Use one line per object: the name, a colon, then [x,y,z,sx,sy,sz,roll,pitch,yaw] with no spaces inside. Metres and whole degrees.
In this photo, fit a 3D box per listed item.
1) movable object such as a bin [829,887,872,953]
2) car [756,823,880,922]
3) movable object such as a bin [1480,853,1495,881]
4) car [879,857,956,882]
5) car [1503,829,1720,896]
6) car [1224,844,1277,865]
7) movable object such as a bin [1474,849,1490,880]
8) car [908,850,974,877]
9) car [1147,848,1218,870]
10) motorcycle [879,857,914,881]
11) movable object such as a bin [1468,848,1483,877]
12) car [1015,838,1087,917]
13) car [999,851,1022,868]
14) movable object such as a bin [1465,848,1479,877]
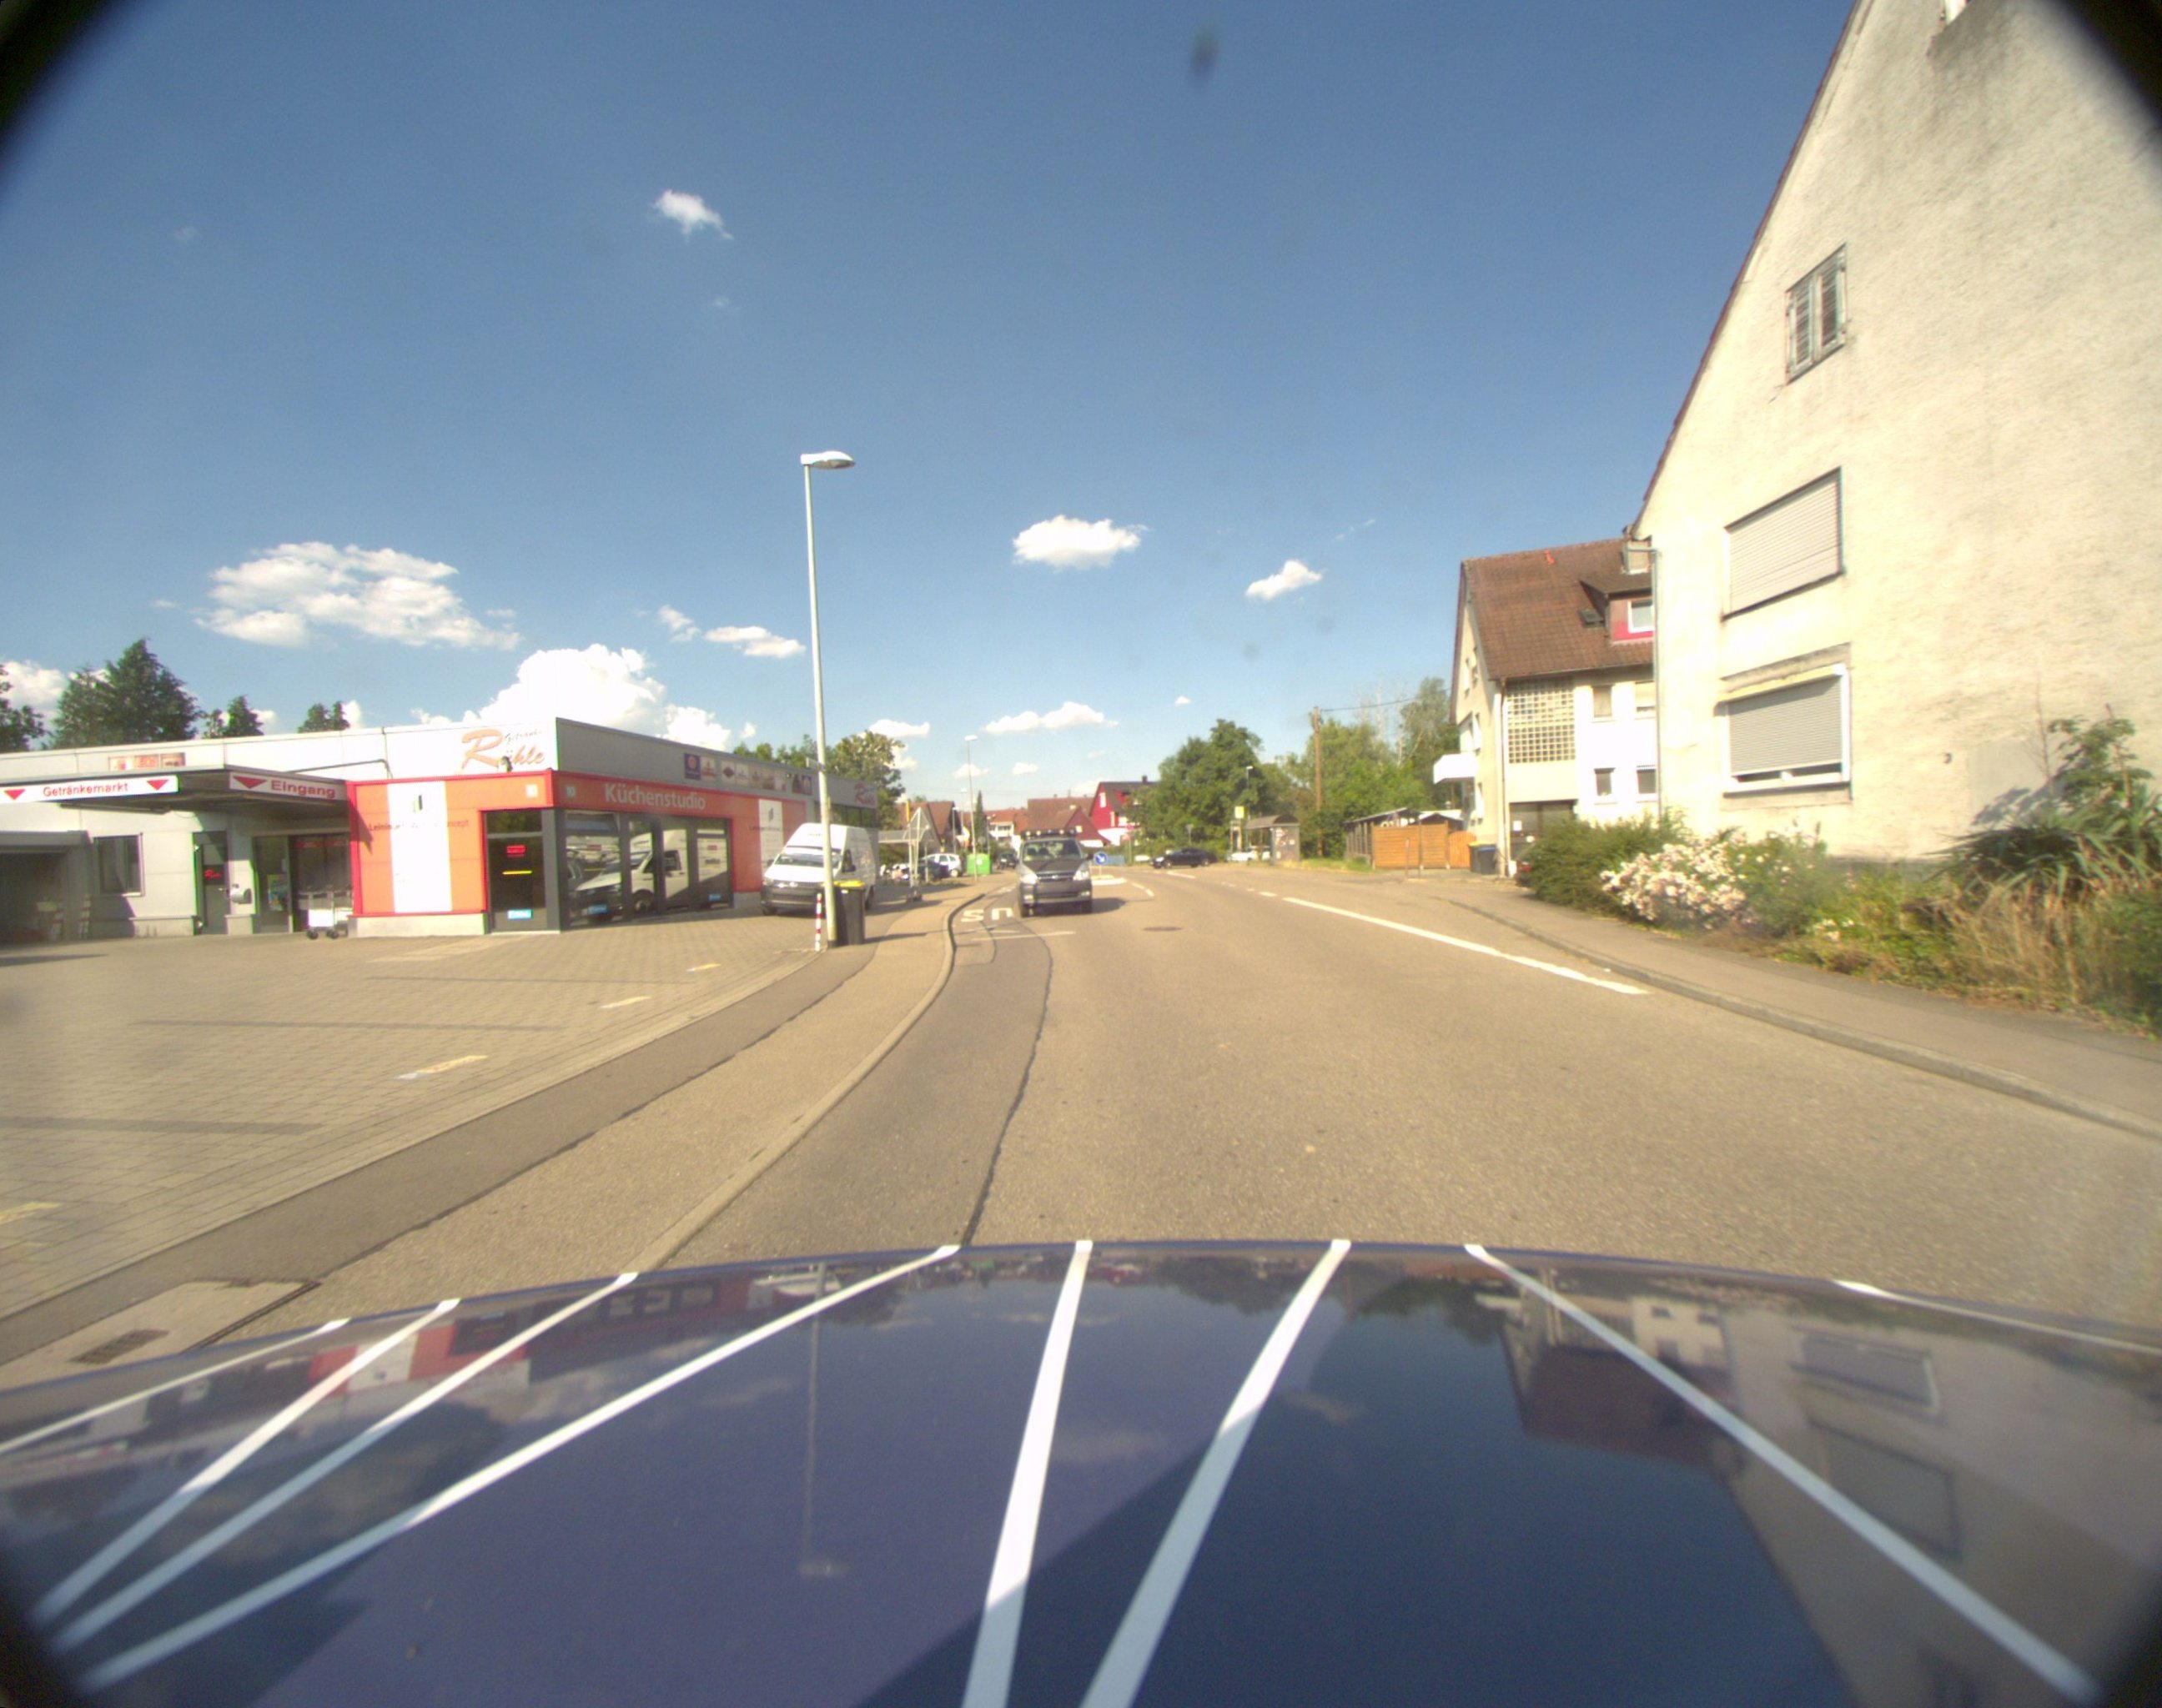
movable object such as a bin: [-3.912,1.108,12.941,0.568,1.069,0.572,-1,1,-4]
car: [-6.965,0.445,20.743,1.841,2.361,5.176,0,0,-3]
movable object such as a bin: [13.920,0.448,26.036,0.361,0.920,0.400,-2,2,17]
car: [-9.483,0.888,44.297,4.074,1.408,1.626,0,1,3]
car: [12.278,0.215,17.911,3.990,1.425,1.656,-2,1,28]
car: [13.743,0.029,61.423,4.283,1.483,1.857,-2,1,-37]
movable object such as a bin: [14.028,0.366,26.595,0.361,1.017,0.577,-2,2,17]
car: [-9.185,0.635,50.066,3.949,1.594,1.682,-2,2,1]
car: [7.371,0.371,55.203,4.849,1.423,1.768,-2,1,-21]
motorcycle: [-10.230,0.805,42.079,1.832,1.316,0.639,0,1,-17]
movable object such as a bin: [14.142,0.303,27.256,0.361,1.035,0.558,-2,2,17]
car: [-0.883,0.593,21.816,1.820,1.988,4.819,-1,0,-3]
car: [-6.855,0.520,73.689,1.974,1.646,3.996,0,0,-9]
movable object such as a bin: [14.327,0.315,27.853,0.361,1.010,0.558,-2,2,17]
